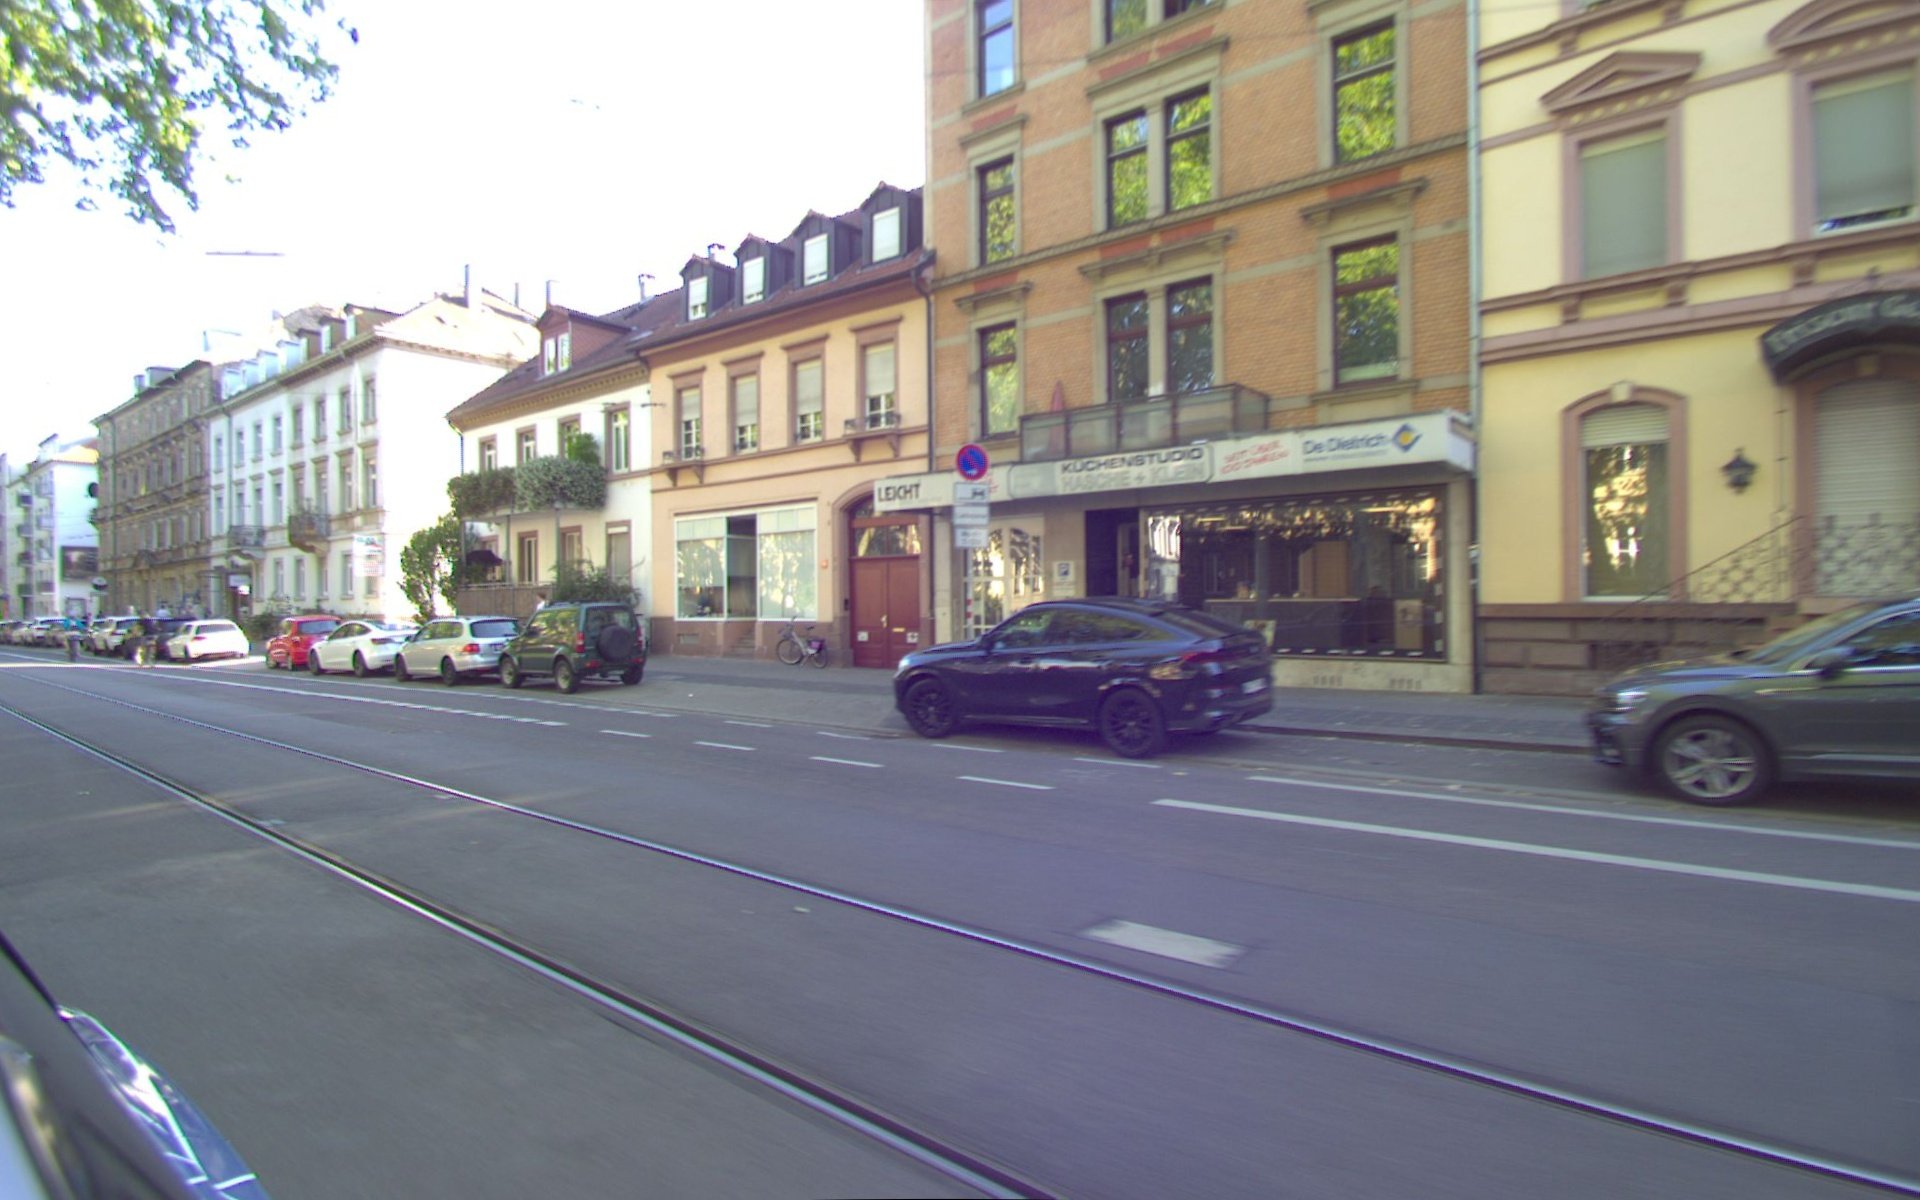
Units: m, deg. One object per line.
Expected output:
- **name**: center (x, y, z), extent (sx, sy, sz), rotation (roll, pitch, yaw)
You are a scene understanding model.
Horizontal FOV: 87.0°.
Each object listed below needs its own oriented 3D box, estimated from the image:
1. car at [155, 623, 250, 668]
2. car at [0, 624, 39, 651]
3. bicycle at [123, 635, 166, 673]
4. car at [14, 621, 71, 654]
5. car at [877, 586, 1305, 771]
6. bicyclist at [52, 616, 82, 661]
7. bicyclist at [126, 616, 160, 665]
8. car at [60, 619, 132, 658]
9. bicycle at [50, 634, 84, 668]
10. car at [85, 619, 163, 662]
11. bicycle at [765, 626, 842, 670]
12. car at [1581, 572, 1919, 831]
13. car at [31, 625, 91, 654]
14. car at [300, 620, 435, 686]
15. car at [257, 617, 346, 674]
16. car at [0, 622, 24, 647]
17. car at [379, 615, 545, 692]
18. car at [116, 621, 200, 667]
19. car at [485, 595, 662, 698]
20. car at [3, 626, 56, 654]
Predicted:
- **car**: center (-27.276, 1.602, 36.402), extent (4.080, 1.442, 1.845), rotation (-1, 1, 40)
- **car**: center (-59.228, 2.315, 63.322), extent (3.915, 1.555, 1.786), rotation (-1, 1, 40)
- **bicycle**: center (-25.967, 1.701, 32.227), extent (2.119, 1.146, 0.705), rotation (-1, -1, 41)
- **car**: center (-50.932, 2.067, 56.180), extent (4.080, 1.639, 1.775), rotation (-1, 1, 40)
- **car**: center (1.423, 0.809, 12.185), extent (4.746, 1.715, 1.974), rotation (-1, 2, 40)
- **bicyclist**: center (-31.496, 1.349, 35.691), extent (0.954, 1.529, 0.705), rotation (-1, -1, 44)
- **bicyclist**: center (-26.089, 1.284, 32.315), extent (0.953, 1.529, 0.705), rotation (-1, -1, 41)
- **car**: center (-40.161, 1.765, 46.995), extent (4.572, 1.652, 1.775), rotation (-1, 1, 40)
- **bicycle**: center (-31.499, 1.780, 35.687), extent (2.121, 1.146, 0.705), rotation (-1, -1, 44)
- **car**: center (-35.460, 1.668, 42.908), extent (4.251, 1.652, 1.775), rotation (-1, 1, 40)
- **bicycle**: center (-3.597, 1.082, 23.180), extent (2.119, 0.976, 0.498), rotation (-1, -1, 41)
- **car**: center (7.356, 0.683, 7.532), extent (4.439, 1.718, 1.793), rotation (-1, 2, 40)
- **car**: center (-46.889, 2.040, 52.754), extent (4.080, 1.386, 1.775), rotation (-1, 1, 40)
- **car**: center (-15.399, 1.311, 26.207), extent (4.466, 1.502, 1.567), rotation (-1, 1, 40)
- **car**: center (-19.428, 1.299, 29.819), extent (3.325, 1.522, 1.403), rotation (-1, 1, 43)
- **car**: center (-63.164, 2.262, 66.616), extent (3.915, 1.555, 1.786), rotation (-1, 1, 40)
- **car**: center (-11.245, 1.141, 22.726), extent (4.400, 1.465, 1.647), rotation (-1, 2, 40)
- **car**: center (-31.350, 1.683, 39.540), extent (4.080, 1.608, 1.775), rotation (-1, 1, 40)
- **car**: center (-7.716, 0.870, 20.099), extent (3.624, 1.759, 1.707), rotation (-1, 2, 41)
- **car**: center (-55.244, 2.340, 60.045), extent (4.080, 1.493, 1.775), rotation (-1, 1, 40)
